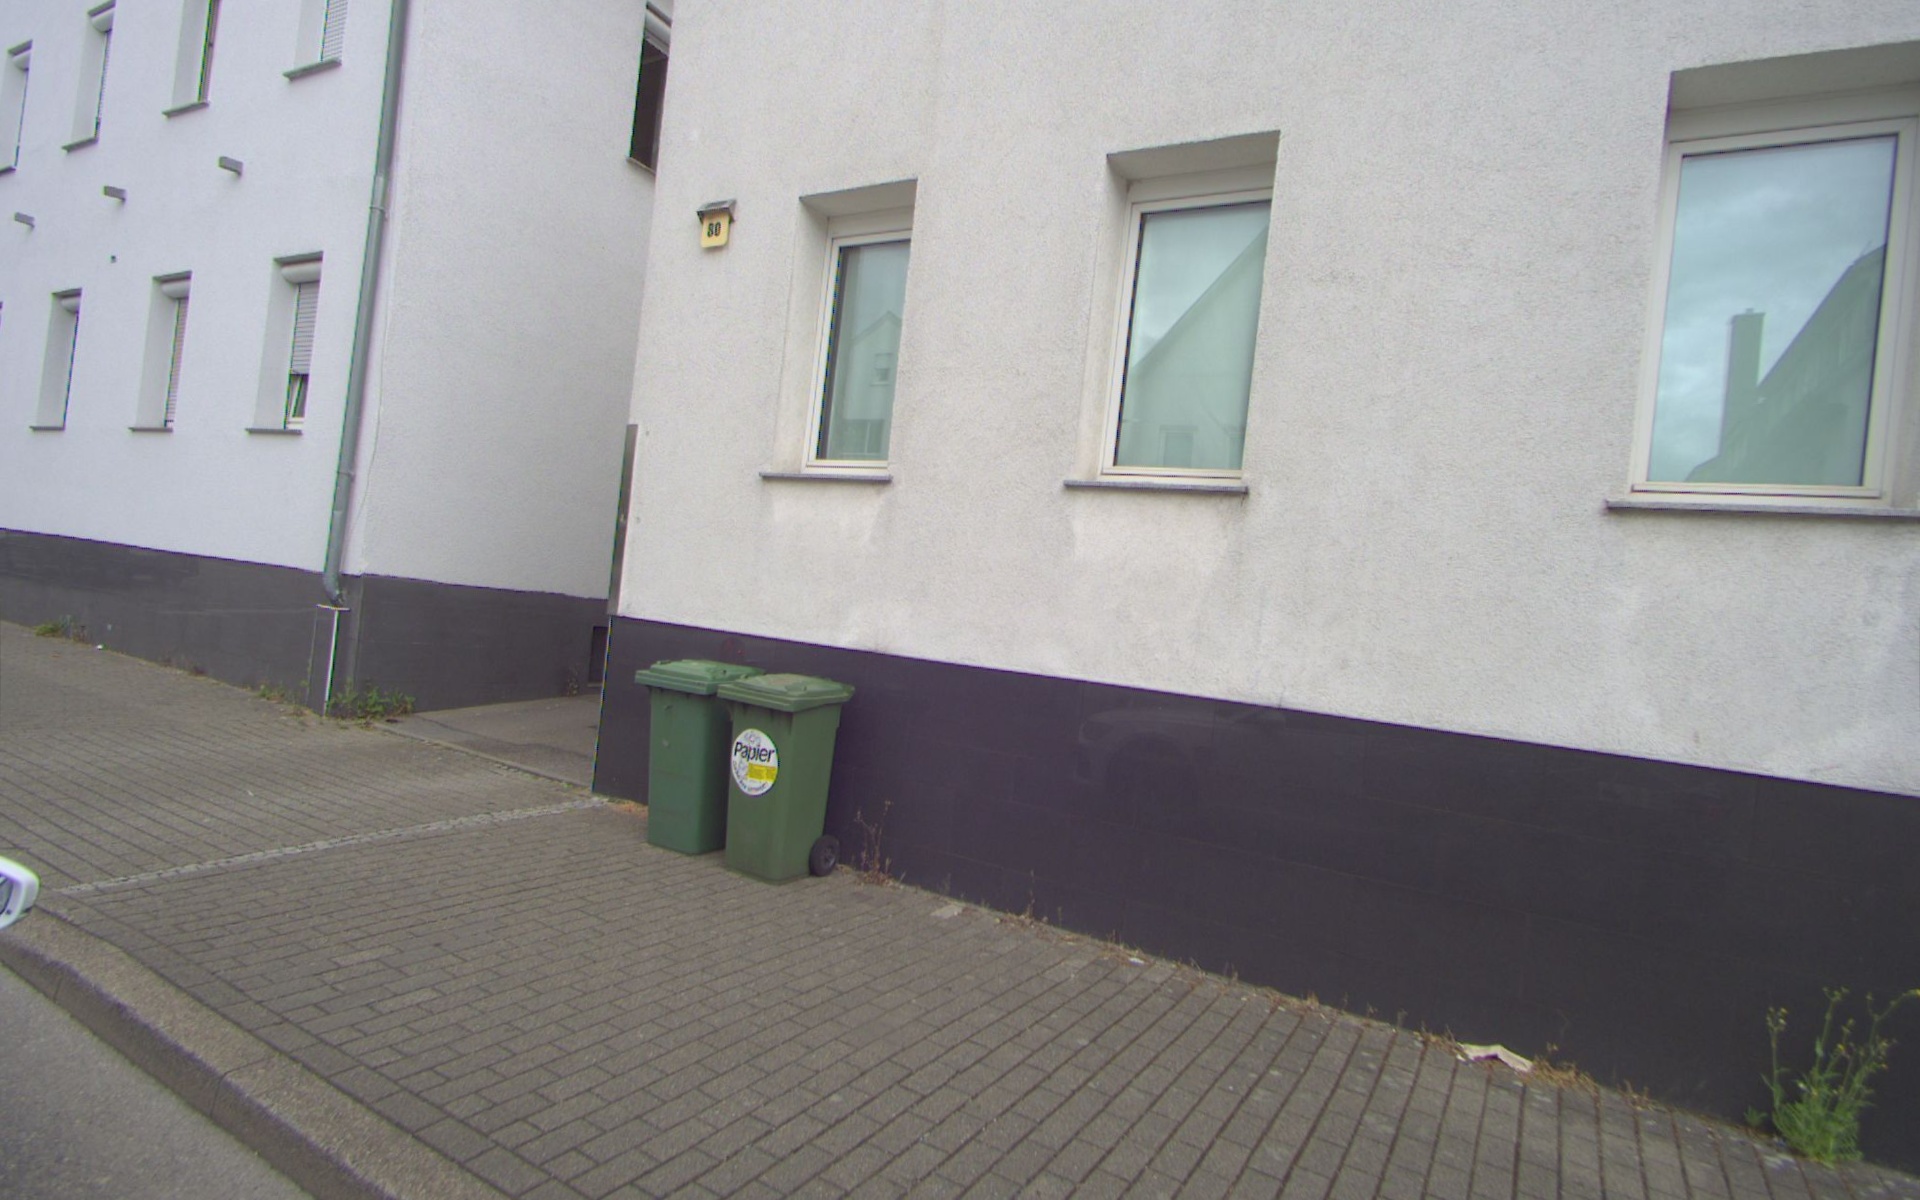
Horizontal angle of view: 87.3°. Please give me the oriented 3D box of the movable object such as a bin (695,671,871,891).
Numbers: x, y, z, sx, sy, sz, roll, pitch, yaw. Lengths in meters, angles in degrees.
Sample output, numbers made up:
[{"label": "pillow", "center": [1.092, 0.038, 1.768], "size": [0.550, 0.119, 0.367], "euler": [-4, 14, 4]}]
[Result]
[{"label": "movable object such as a bin", "center": [-0.843, 0.831, 4.836], "size": [0.510, 0.915, 0.564], "euler": [6, 1, 31]}]

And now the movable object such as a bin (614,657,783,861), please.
[{"label": "movable object such as a bin", "center": [-1.326, 0.779, 5.141], "size": [0.510, 0.915, 0.564], "euler": [6, 1, 31]}]
